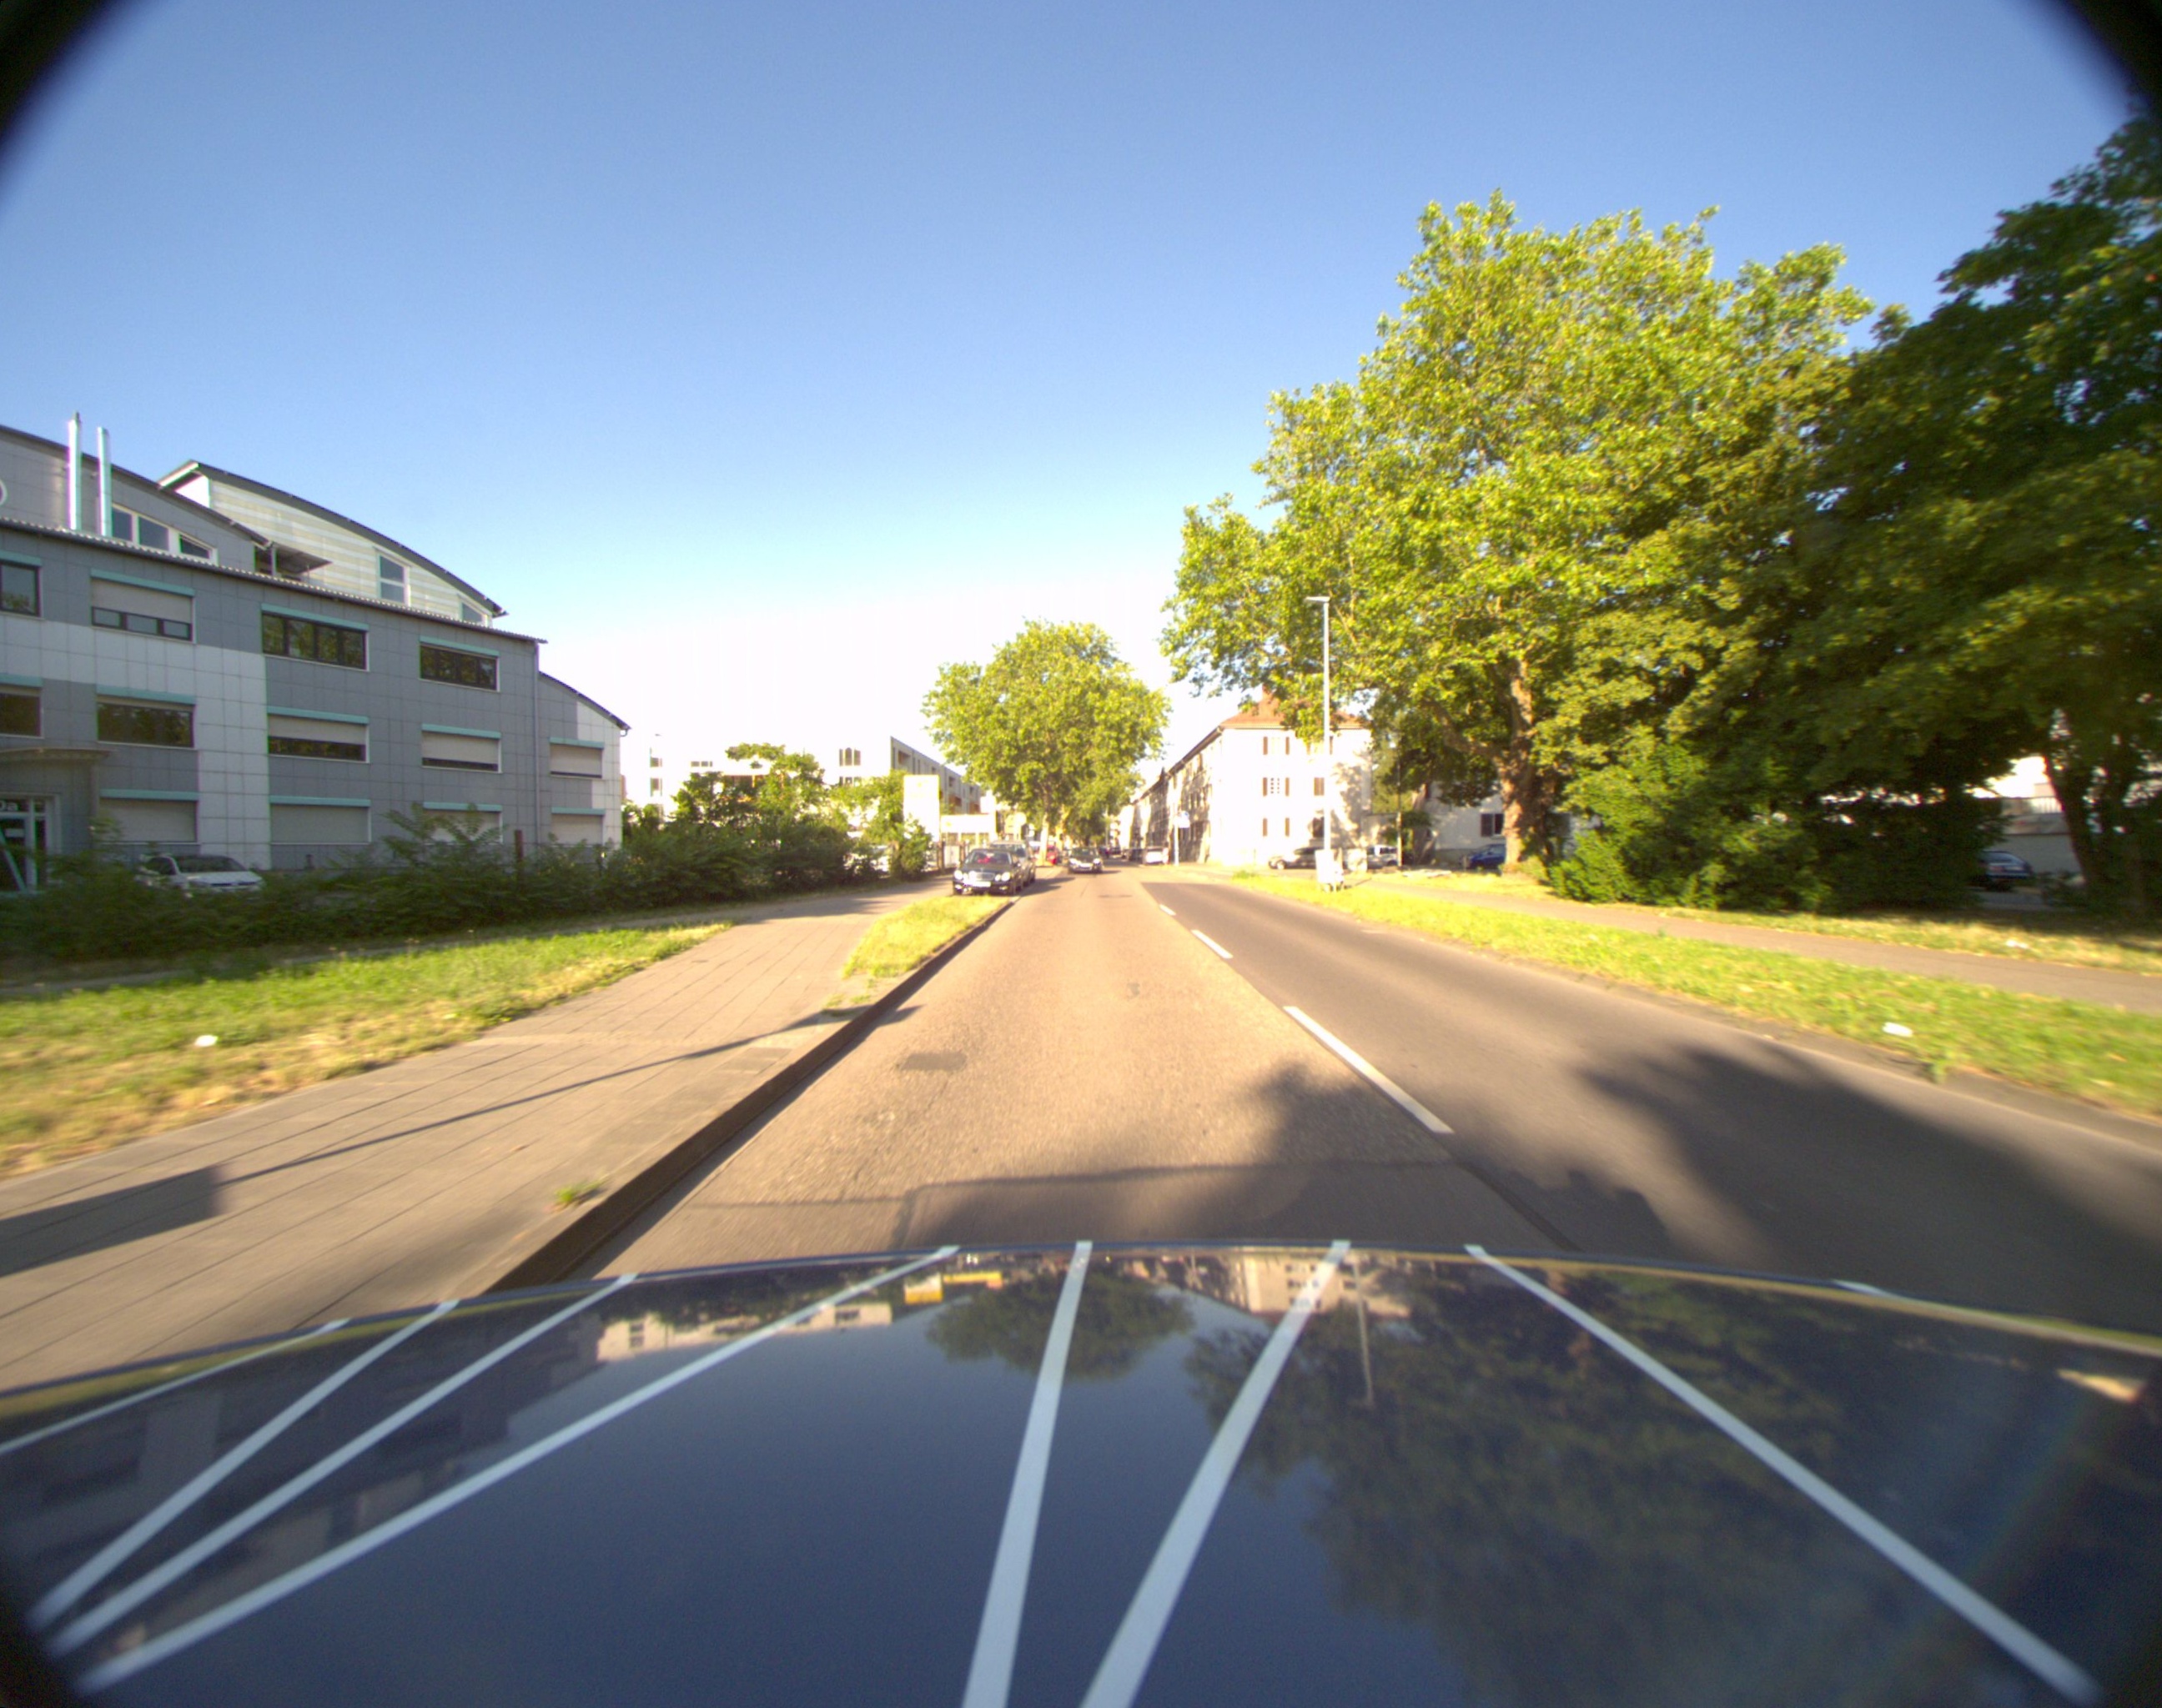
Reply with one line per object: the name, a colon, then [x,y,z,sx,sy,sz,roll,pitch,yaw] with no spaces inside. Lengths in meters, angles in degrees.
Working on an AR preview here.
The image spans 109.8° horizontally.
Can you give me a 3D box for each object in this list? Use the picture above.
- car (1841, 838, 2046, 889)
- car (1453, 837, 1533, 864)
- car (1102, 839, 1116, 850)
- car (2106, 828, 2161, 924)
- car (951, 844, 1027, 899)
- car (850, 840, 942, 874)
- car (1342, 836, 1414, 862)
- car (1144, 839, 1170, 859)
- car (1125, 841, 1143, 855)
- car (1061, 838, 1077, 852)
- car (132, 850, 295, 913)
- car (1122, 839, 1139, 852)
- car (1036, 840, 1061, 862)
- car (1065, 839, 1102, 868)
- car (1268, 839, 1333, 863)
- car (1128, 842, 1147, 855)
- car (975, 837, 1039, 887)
car: [28.589,0.254,25.452,1.863,1.552,4.357,0,1,0]
car: [25.414,-0.245,46.986,3.993,1.552,1.866,1,2,13]
car: [4.204,-1.431,114.370,1.901,1.581,4.068,1,1,0]
car: [20.896,0.438,13.184,3.998,1.674,1.726,2,1,-3]
car: [-2.797,0.481,24.090,1.787,1.507,4.688,1,1,0]
car: [-8.982,0.143,37.164,3.996,1.551,1.841,-1,2,2]
car: [18.782,-0.335,48.257,3.993,1.552,1.866,0,2,13]
car: [5.940,-0.441,59.719,1.765,1.475,4.108,-2,1,2]
car: [5.866,-0.678,84.774,1.869,1.475,4.086,-3,1,3]
car: [-1.513,-1.134,95.934,1.870,1.603,4.086,1,1,1]
car: [-25.185,0.730,22.069,3.990,1.565,1.912,1,3,23]
car: [6.503,-1.166,100.628,1.870,1.603,4.085,-1,1,-1]
car: [-2.517,-0.256,59.812,1.602,1.680,4.336,1,1,2]
car: [0.107,-0.077,40.841,1.870,1.472,4.085,0,1,-1]
car: [14.205,-0.202,49.415,3.993,1.411,1.914,0,5,13]
car: [6.792,-0.654,91.255,1.870,1.475,4.085,-2,1,0]
car: [-2.776,0.240,29.640,1.998,1.749,4.916,1,1,0]
